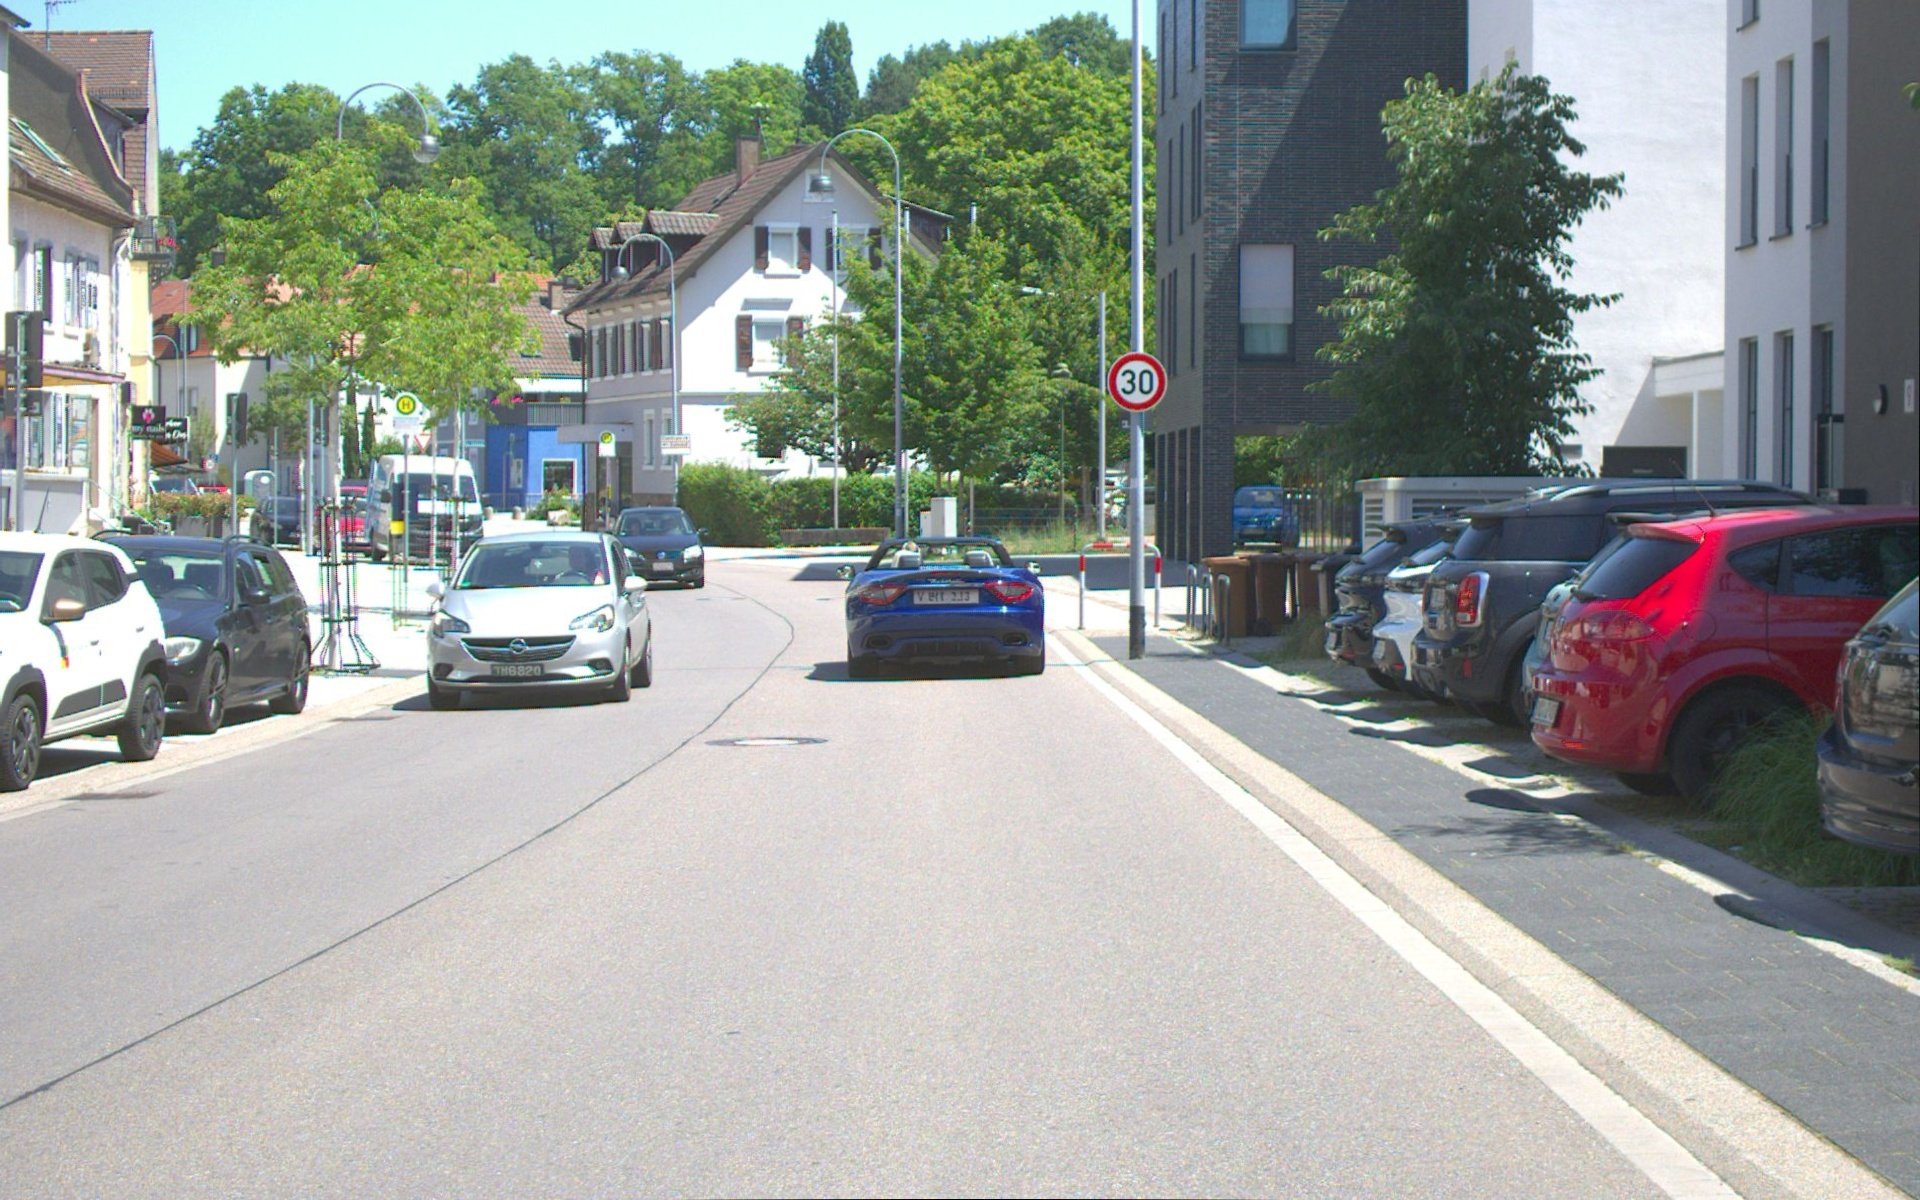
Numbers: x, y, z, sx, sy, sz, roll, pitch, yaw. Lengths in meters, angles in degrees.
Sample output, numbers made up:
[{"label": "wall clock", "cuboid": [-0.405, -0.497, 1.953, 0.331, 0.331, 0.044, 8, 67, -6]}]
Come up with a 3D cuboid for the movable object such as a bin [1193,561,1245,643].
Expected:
[{"label": "movable object such as a bin", "cuboid": [2.984, 0.019, 39.620, 0.537, 0.926, 0.623, -2, 1, 1]}]

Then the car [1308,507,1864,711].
[{"label": "car", "cuboid": [4.808, 0.055, 26.772, 3.980, 1.524, 1.741, 0, 1, -1]}]

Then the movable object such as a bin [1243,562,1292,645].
[{"label": "movable object such as a bin", "cuboid": [3.537, 0.035, 39.597, 0.495, 0.926, 0.623, -2, 1, 1]}]

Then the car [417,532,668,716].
[{"label": "car", "cuboid": [-3.619, 0.158, 30.426, 1.687, 1.453, 4.059, -1, 1, 0]}]

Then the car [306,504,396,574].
[{"label": "car", "cuboid": [-15.290, -1.529, 86.206, 1.993, 1.732, 4.001, 0, 1, -13]}]

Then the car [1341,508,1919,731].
[{"label": "car", "cuboid": [4.860, 0.120, 24.770, 3.980, 1.524, 1.943, 0, 1, -1]}]

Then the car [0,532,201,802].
[{"label": "car", "cuboid": [-6.164, 0.350, 21.466, 1.645, 1.474, 3.940, 2, 2, 5]}]

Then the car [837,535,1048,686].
[{"label": "car", "cuboid": [-0.101, 0.052, 34.115, 1.871, 1.337, 4.596, -1, 1, 2]}]

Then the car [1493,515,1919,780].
[{"label": "car", "cuboid": [5.165, 0.249, 19.516, 3.980, 1.427, 1.763, 0, 1, -1]}]

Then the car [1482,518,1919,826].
[{"label": "car", "cuboid": [4.714, 0.301, 16.890, 3.970, 1.404, 1.857, -1, 1, -1]}]

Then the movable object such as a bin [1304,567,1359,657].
[{"label": "movable object such as a bin", "cuboid": [3.914, 0.124, 36.228, 0.495, 0.926, 0.623, -2, 1, 1]}]

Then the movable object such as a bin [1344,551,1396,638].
[{"label": "movable object such as a bin", "cuboid": [4.444, -0.063, 37.253, 0.495, 0.926, 0.623, 0, 1, 1]}]

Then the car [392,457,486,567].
[{"label": "car", "cuboid": [-11.801, -1.990, 77.708, 1.866, 2.392, 4.820, 0, 1, -11]}]

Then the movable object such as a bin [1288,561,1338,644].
[{"label": "movable object such as a bin", "cuboid": [4.061, 0.024, 39.597, 0.495, 0.926, 0.623, -2, 1, 1]}]

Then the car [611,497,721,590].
[{"label": "car", "cuboid": [-5.393, -1.036, 62.779, 1.660, 1.601, 4.001, -2, 1, -9]}]

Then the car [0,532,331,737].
[{"label": "car", "cuboid": [-6.189, 0.211, 26.821, 1.670, 1.438, 4.010, 0, 2, 2]}]

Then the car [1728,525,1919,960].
[{"label": "car", "cuboid": [5.111, 0.457, 12.243, 4.257, 1.411, 1.929, 0, 1, -3]}]

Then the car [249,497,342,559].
[{"label": "car", "cuboid": [-18.972, -2.074, 98.056, 1.993, 1.686, 4.001, 0, 2, -20]}]

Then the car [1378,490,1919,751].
[{"label": "car", "cuboid": [4.832, 0.112, 22.285, 3.980, 1.599, 1.943, 0, 1, -1]}]
